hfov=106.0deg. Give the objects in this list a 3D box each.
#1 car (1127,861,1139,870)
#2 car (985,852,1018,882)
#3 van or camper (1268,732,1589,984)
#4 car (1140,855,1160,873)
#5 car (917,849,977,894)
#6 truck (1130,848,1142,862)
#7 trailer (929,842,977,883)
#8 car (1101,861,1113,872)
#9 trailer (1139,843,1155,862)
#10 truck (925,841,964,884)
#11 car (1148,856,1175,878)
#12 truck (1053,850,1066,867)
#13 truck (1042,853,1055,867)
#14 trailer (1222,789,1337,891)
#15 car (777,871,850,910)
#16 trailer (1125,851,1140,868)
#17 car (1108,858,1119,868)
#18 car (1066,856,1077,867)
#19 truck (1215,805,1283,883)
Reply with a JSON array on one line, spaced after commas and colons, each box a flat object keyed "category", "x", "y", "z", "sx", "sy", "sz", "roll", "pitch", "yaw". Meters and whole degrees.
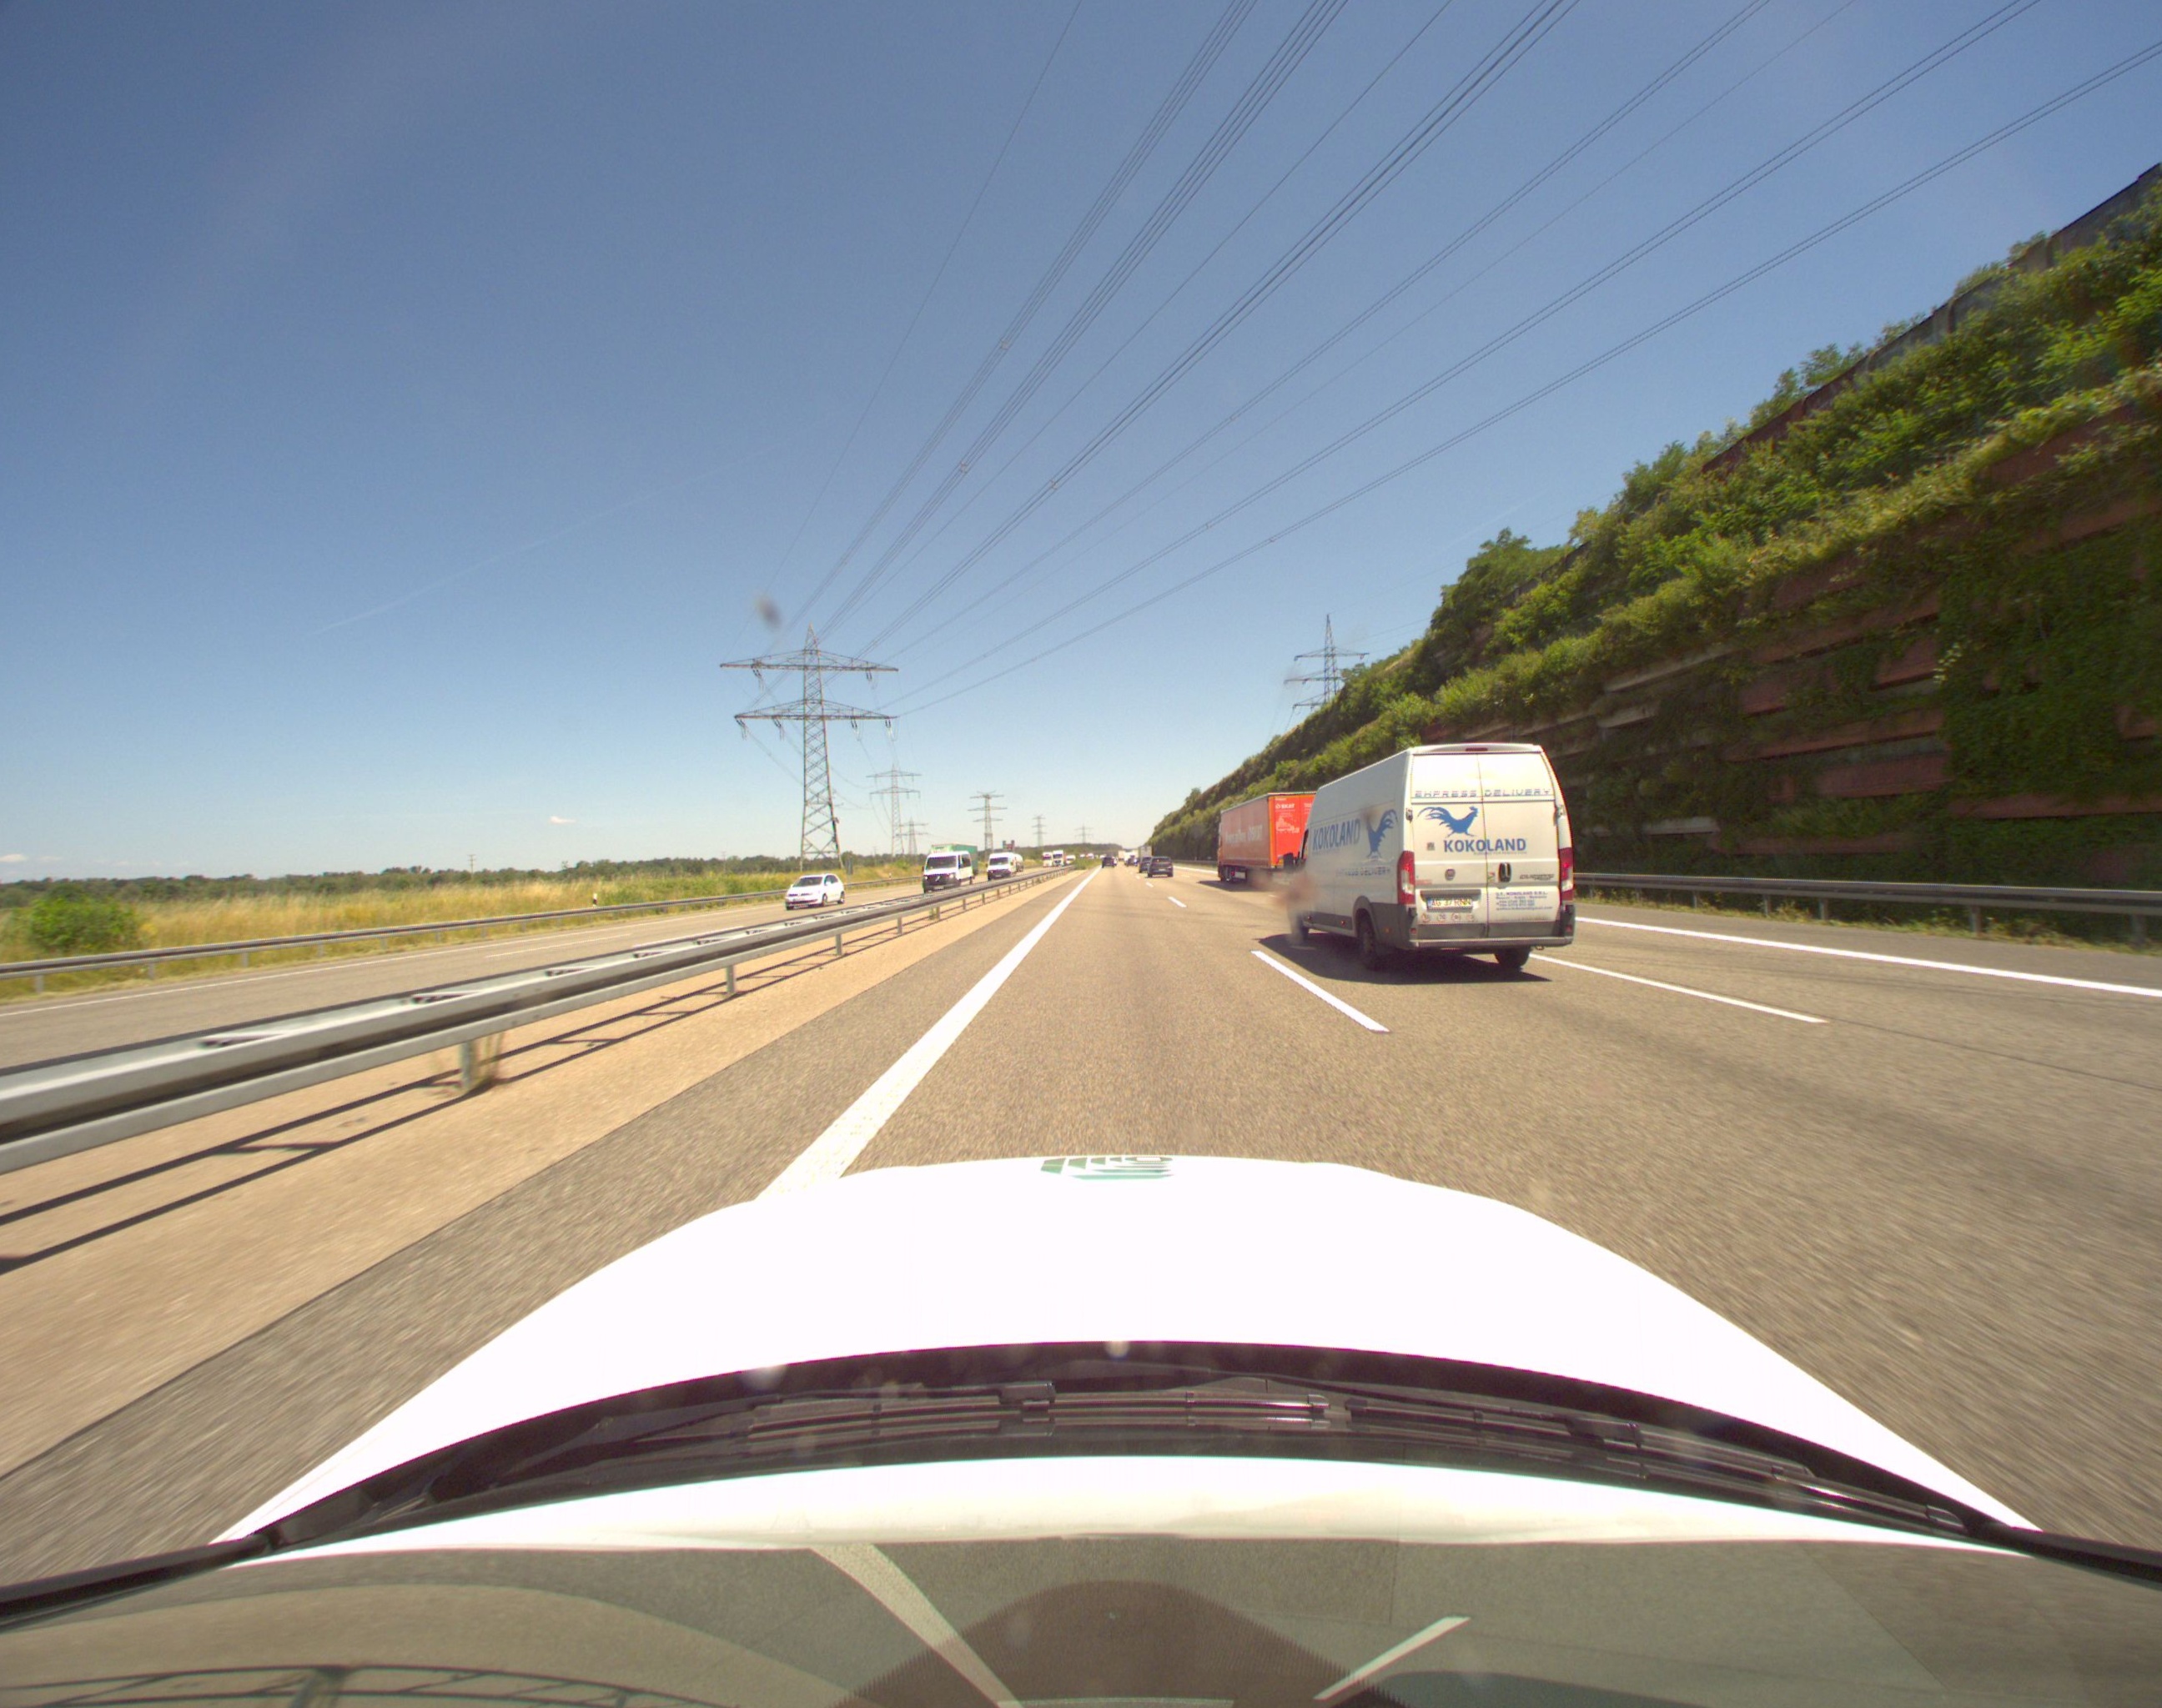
[{"category": "car", "x": 8.840, "y": 1.928, "z": 138.759, "sx": 1.822, "sy": 1.525, "sz": 4.003, "roll": -3, "pitch": -1, "yaw": 3}, {"category": "car", "x": -7.058, "y": 1.101, "z": 72.649, "sx": 2.040, "sy": 2.438, "sz": 6.070, "roll": -4, "pitch": 0, "yaw": 1}, {"category": "van or camper", "x": 4.668, "y": 0.058, "z": 12.502, "sx": 2.089, "sy": 2.769, "sz": 6.758, "roll": -2, "pitch": 0, "yaw": 1}, {"category": "car", "x": 6.889, "y": 1.001, "z": 81.415, "sx": 1.787, "sy": 1.653, "sz": 4.140, "roll": -2, "pitch": 0, "yaw": 2}, {"category": "car", "x": -7.615, "y": 0.968, "z": 46.944, "sx": 2.101, "sy": 2.298, "sz": 6.708, "roll": -3, "pitch": 0, "yaw": 1}, {"category": "truck", "x": 17.387, "y": 0.339, "z": 257.942, "sx": 3.106, "sy": 4.280, "sz": 11.941, "roll": -3, "pitch": -1, "yaw": 3}, {"category": "trailer", "x": -14.140, "y": 0.883, "z": 91.330, "sx": 2.659, "sy": 4.085, "sz": 13.920, "roll": -3, "pitch": 0, "yaw": 2}, {"category": "car", "x": 4.132, "y": 2.033, "z": 129.722, "sx": 1.823, "sy": 1.670, "sz": 4.002, "roll": -3, "pitch": -1, "yaw": 2}, {"category": "trailer", "x": 15.385, "y": -0.249, "z": 190.877, "sx": 3.170, "sy": 4.121, "sz": 13.439, "roll": -3, "pitch": -1, "yaw": 3}, {"category": "truck", "x": -14.302, "y": 0.875, "z": 85.818, "sx": 2.689, "sy": 4.134, "sz": 6.583, "roll": -3, "pitch": 0, "yaw": 2}, {"category": "car", "x": 6.075, "y": 0.963, "z": 61.860, "sx": 1.742, "sy": 1.525, "sz": 3.997, "roll": -2, "pitch": -1, "yaw": 2}, {"category": "truck", "x": -5.448, "y": 1.219, "z": 206.926, "sx": 2.590, "sy": 4.211, "sz": 5.913, "roll": -3, "pitch": 0, "yaw": 2}, {"category": "truck", "x": -8.956, "y": 1.667, "z": 224.409, "sx": 2.825, "sy": 3.751, "sz": 6.850, "roll": -3, "pitch": 0, "yaw": 1}, {"category": "trailer", "x": 9.103, "y": -0.515, "z": 39.394, "sx": 2.635, "sy": 4.005, "sz": 13.612, "roll": -1, "pitch": 0, "yaw": 2}, {"category": "car", "x": -12.507, "y": 1.678, "z": 38.399, "sx": 1.701, "sy": 1.524, "sz": 4.515, "roll": -5, "pitch": 0, "yaw": 1}, {"category": "trailer", "x": 10.273, "y": 1.041, "z": 164.394, "sx": 2.601, "sy": 3.213, "sz": 9.956, "roll": -3, "pitch": -1, "yaw": 2}, {"category": "car", "x": 5.915, "y": 1.699, "z": 149.174, "sx": 1.823, "sy": 1.670, "sz": 4.002, "roll": -3, "pitch": -1, "yaw": 2}, {"category": "car", "x": -2.237, "y": 1.699, "z": 185.752, "sx": 1.985, "sy": 2.437, "sz": 6.034, "roll": -3, "pitch": 0, "yaw": 3}, {"category": "truck", "x": 9.332, "y": -0.498, "z": 45.867, "sx": 2.608, "sy": 3.992, "sz": 6.529, "roll": -2, "pitch": 0, "yaw": 2}]
